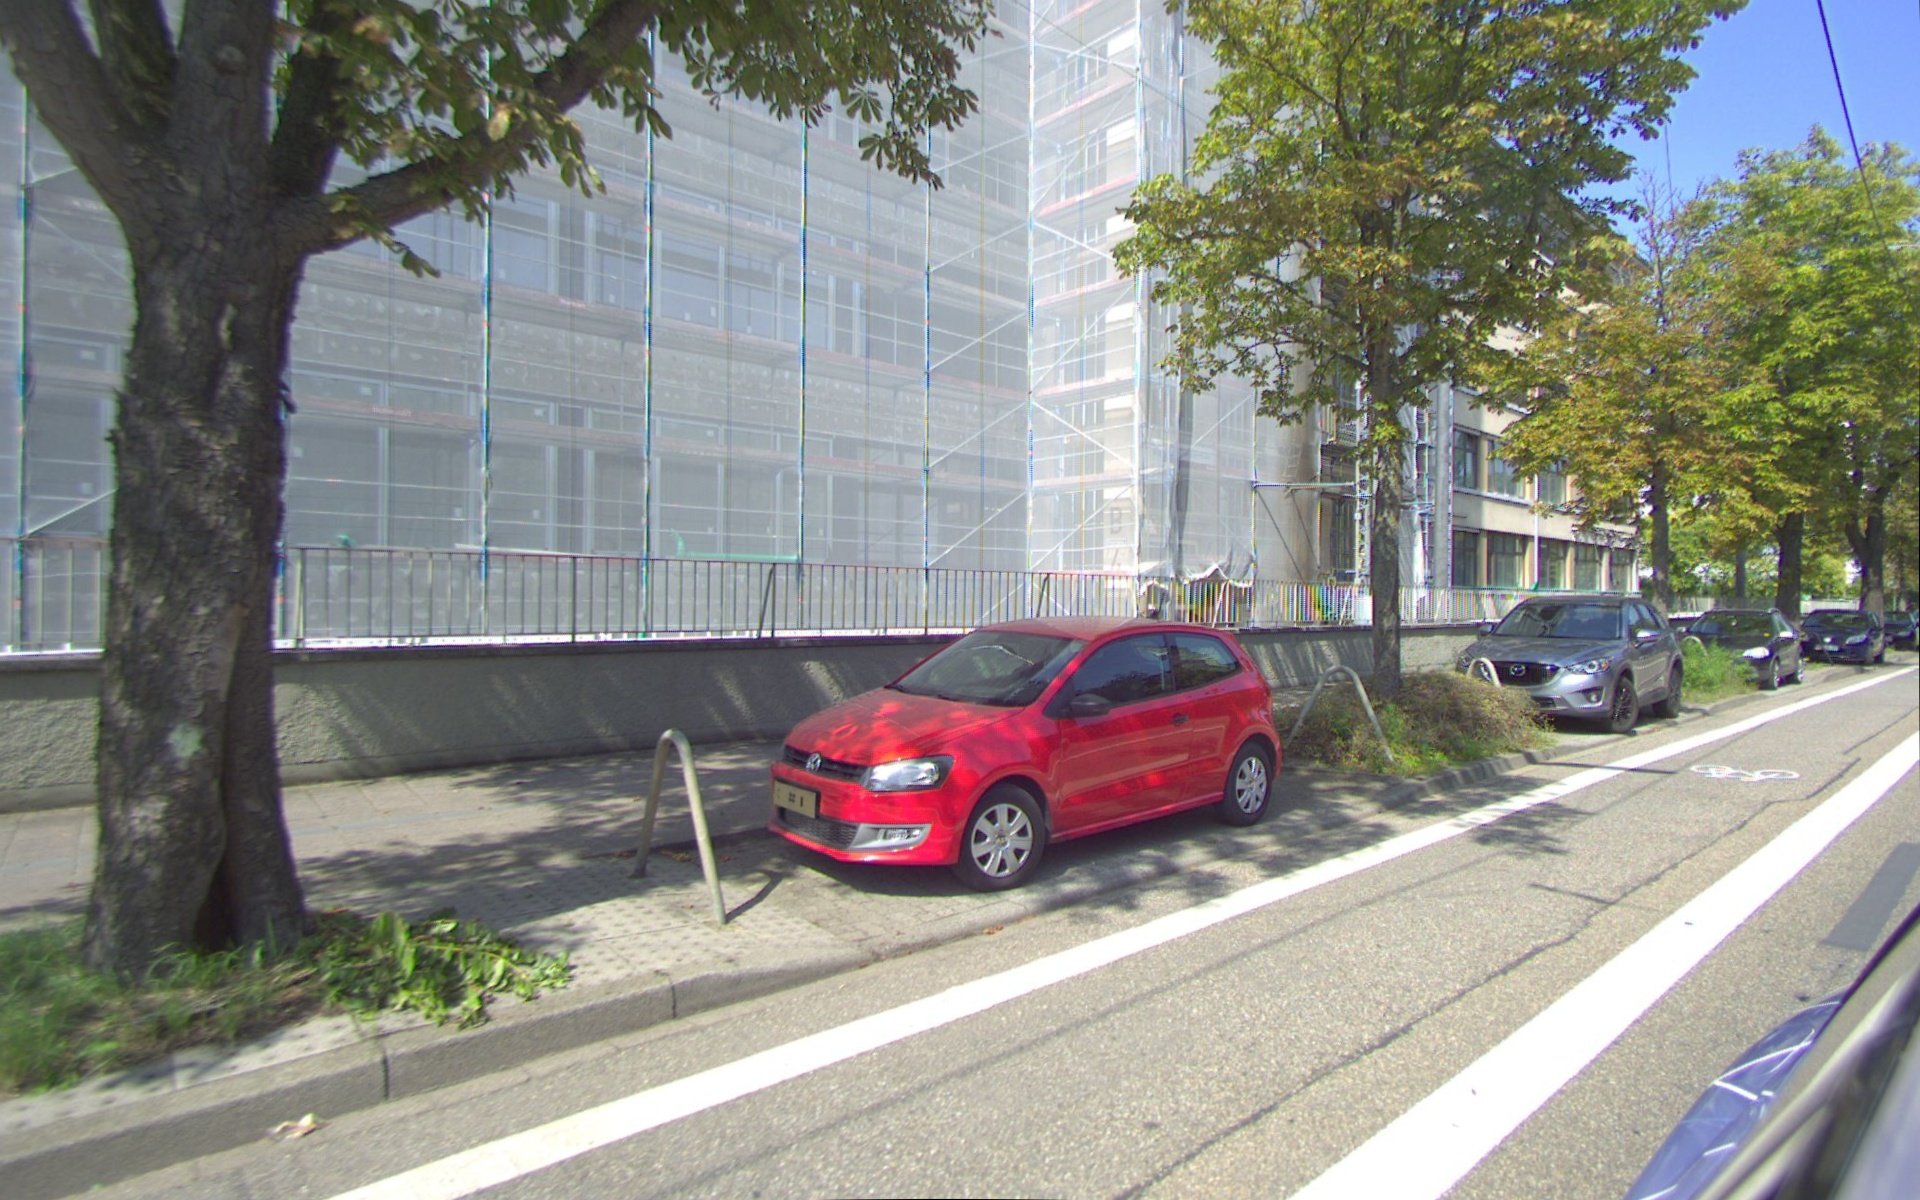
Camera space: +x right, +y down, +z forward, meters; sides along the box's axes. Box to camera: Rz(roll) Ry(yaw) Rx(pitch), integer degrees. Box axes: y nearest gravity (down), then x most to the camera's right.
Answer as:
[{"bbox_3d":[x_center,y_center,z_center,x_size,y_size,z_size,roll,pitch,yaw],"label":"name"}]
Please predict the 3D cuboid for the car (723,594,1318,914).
[{"bbox_3d":[0.623,0.732,6.875,4.061,1.519,1.688,-1,1,-42],"label":"car"}]

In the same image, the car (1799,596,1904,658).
[{"bbox_3d":[25.218,0.743,28.586,4.011,1.590,1.644,1,1,-40],"label":"car"}]

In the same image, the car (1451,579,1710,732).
[{"bbox_3d":[8.409,0.617,13.535,4.569,1.710,1.764,0,0,-42],"label":"car"}]

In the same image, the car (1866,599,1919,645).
[{"bbox_3d":[33.797,0.761,36.169,3.925,1.491,1.641,0,3,-42],"label":"car"}]

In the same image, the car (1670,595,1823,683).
[{"bbox_3d":[15.817,0.708,20.283,3.930,1.590,1.688,0,0,-41],"label":"car"}]

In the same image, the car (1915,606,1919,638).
[{"bbox_3d":[47.537,1.043,48.901,3.809,1.492,1.641,0,0,-40],"label":"car"}]
